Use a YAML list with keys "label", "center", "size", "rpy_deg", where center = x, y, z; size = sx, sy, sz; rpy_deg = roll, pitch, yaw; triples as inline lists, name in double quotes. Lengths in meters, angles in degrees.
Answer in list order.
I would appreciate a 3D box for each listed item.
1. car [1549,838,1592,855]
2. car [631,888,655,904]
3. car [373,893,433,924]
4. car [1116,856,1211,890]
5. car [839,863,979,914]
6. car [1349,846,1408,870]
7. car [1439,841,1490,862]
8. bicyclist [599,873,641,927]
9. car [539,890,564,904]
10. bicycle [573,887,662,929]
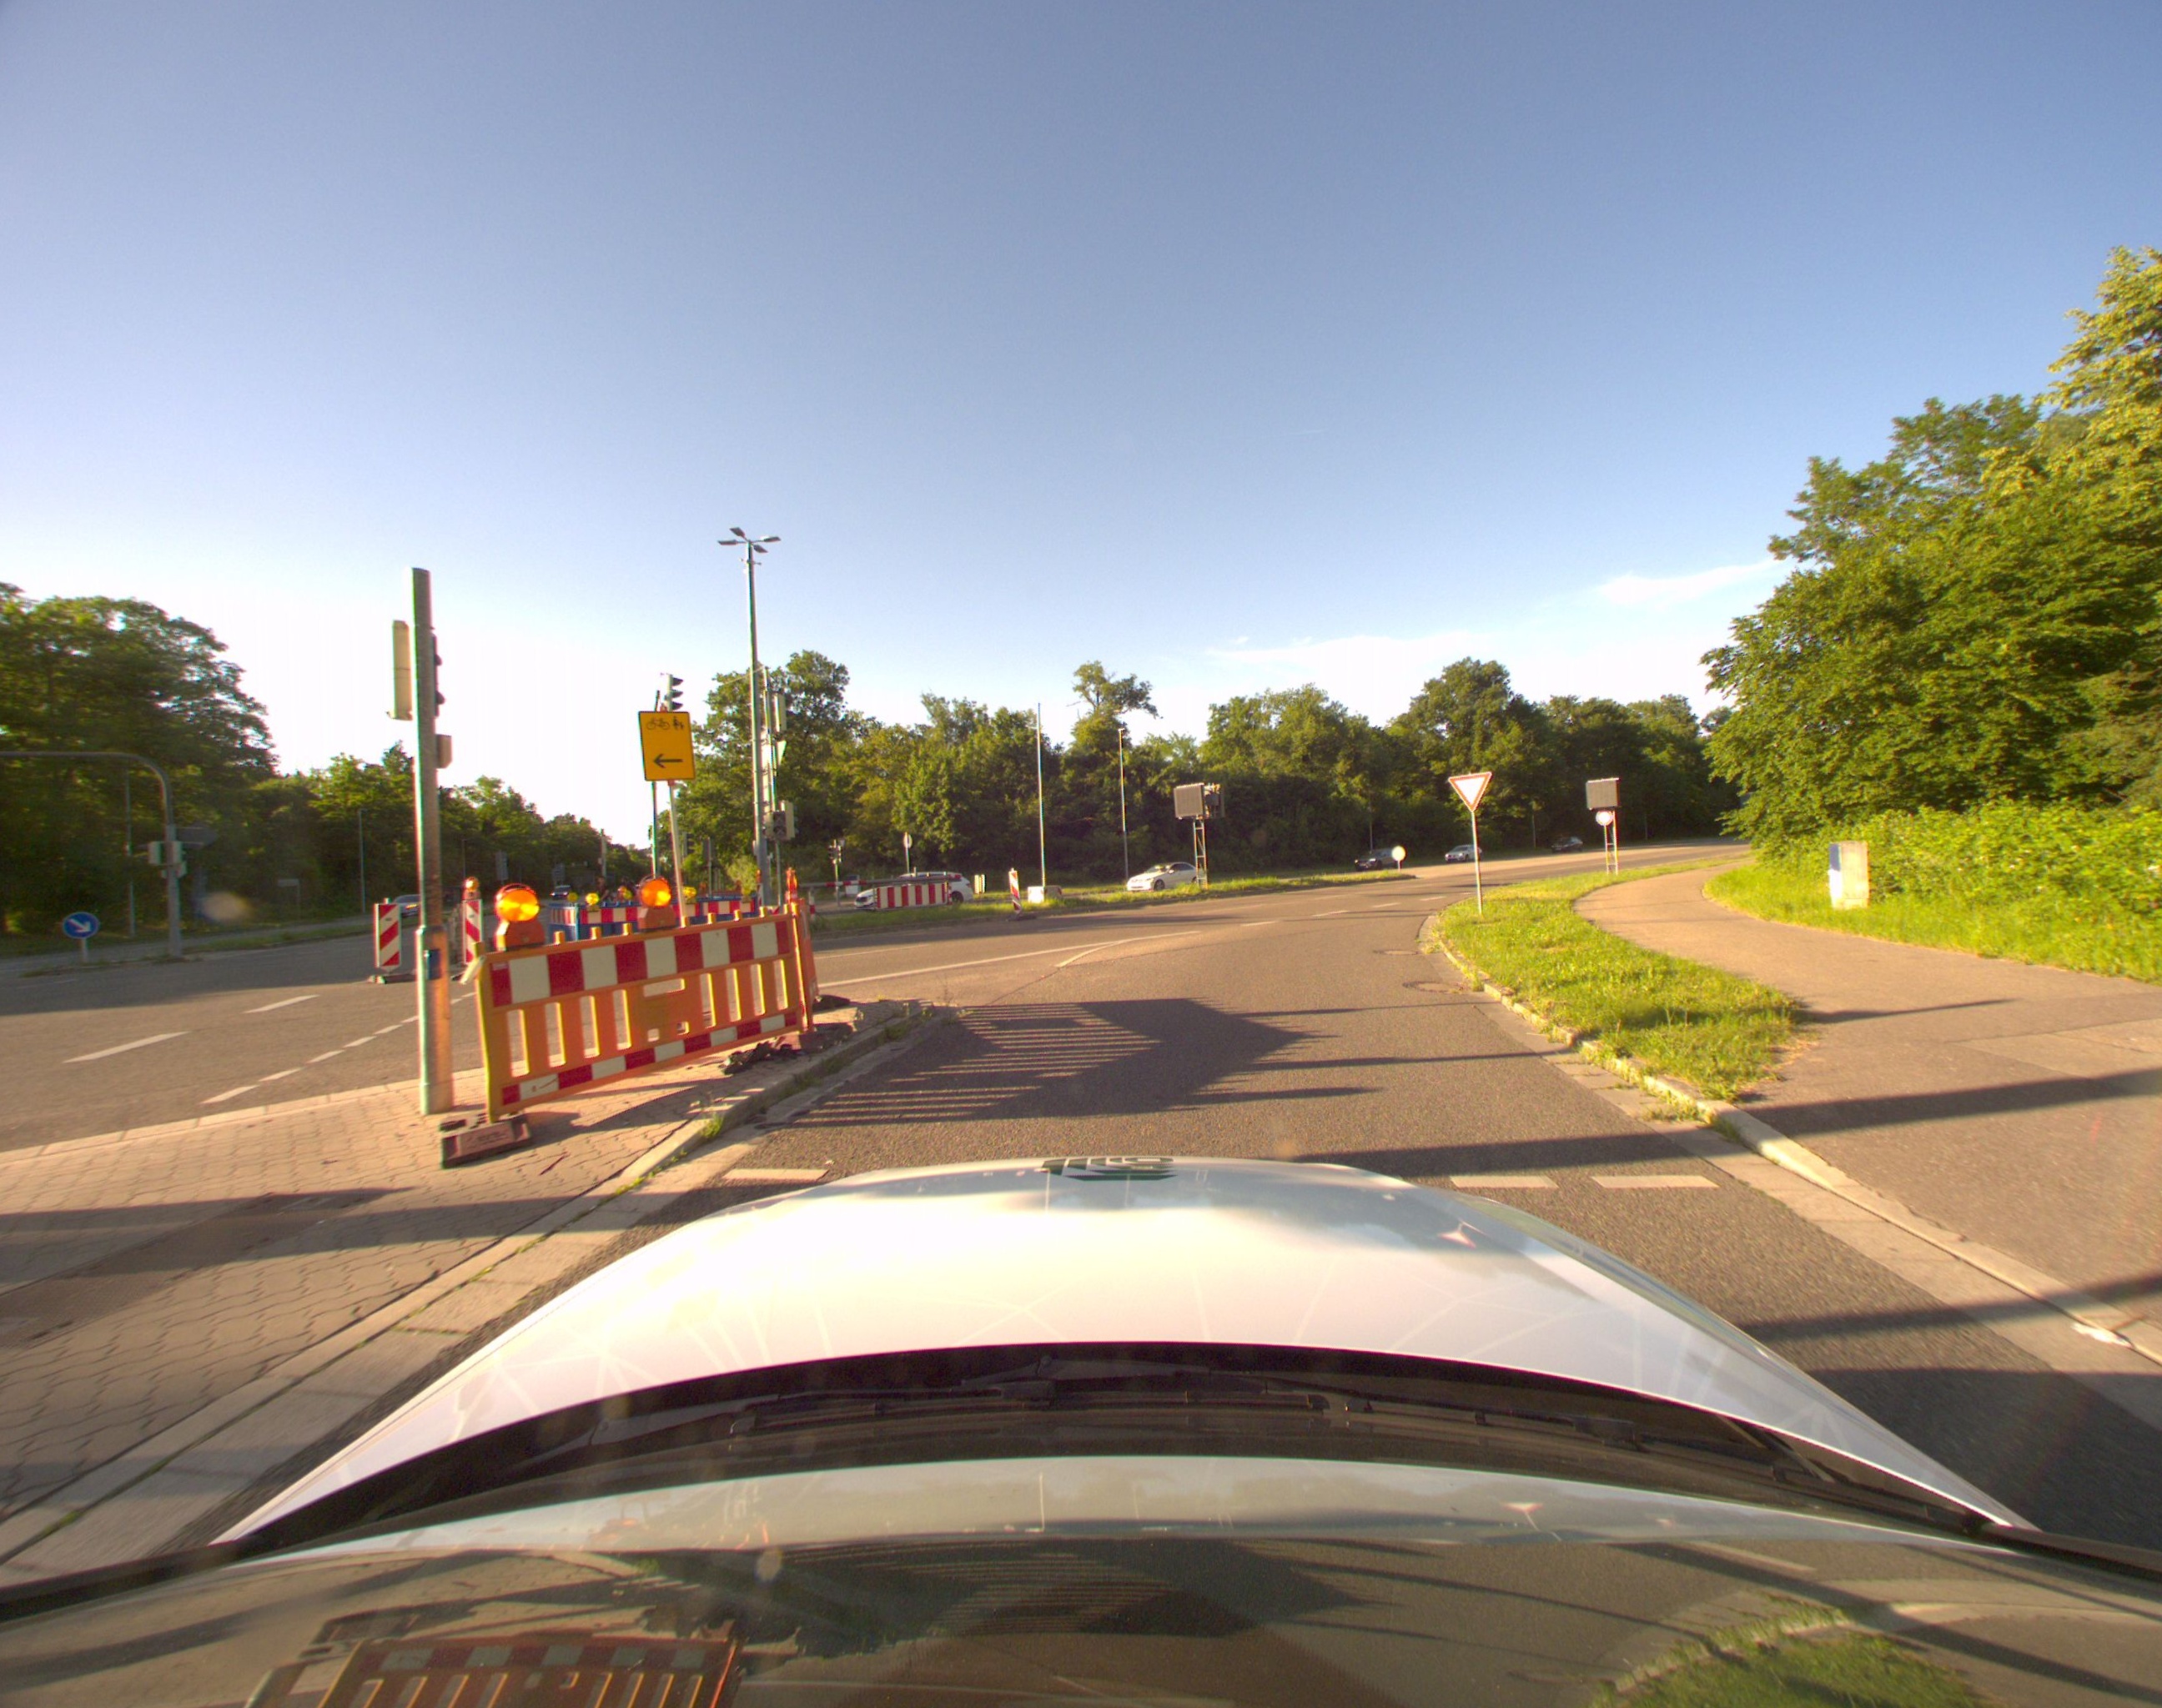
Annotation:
- label: "car"
  center: [49.517, -0.776, 82.343]
  size: [4.672, 1.529, 1.978]
  rpy_deg: [-3, -1, -36]
- label: "car"
  center: [-43.138, 4.111, 80.247]
  size: [1.951, 1.414, 3.964]
  rpy_deg: [-3, -1, -27]
- label: "car"
  center: [-45.575, 3.613, 54.855]
  size: [2.003, 1.789, 4.214]
  rpy_deg: [-3, -1, -25]
- label: "car"
  center: [4.202, 0.950, 40.954]
  size: [4.835, 1.436, 1.975]
  rpy_deg: [-2, -1, -44]
- label: "car"
  center: [-6.464, 1.280, 31.042]
  size: [4.862, 1.580, 1.975]
  rpy_deg: [-2, -1, -45]
- label: "car"
  center: [22.176, 0.287, 60.588]
  size: [4.675, 1.529, 1.976]
  rpy_deg: [-2, -1, -40]
- label: "car"
  center: [32.796, -0.197, 69.537]
  size: [4.674, 1.529, 1.977]
  rpy_deg: [-3, -1, -38]
- label: "bicyclist"
  center: [-17.043, 1.672, 30.096]
  size: [0.956, 1.930, 1.023]
  rpy_deg: [-3, -1, 35]
- label: "car"
  center: [-69.265, 5.629, 106.577]
  size: [2.003, 1.654, 4.214]
  rpy_deg: [-3, -1, -25]
- label: "bicycle"
  center: [-17.055, 1.966, 30.047]
  size: [0.956, 1.383, 2.657]
  rpy_deg: [-3, -1, 35]
